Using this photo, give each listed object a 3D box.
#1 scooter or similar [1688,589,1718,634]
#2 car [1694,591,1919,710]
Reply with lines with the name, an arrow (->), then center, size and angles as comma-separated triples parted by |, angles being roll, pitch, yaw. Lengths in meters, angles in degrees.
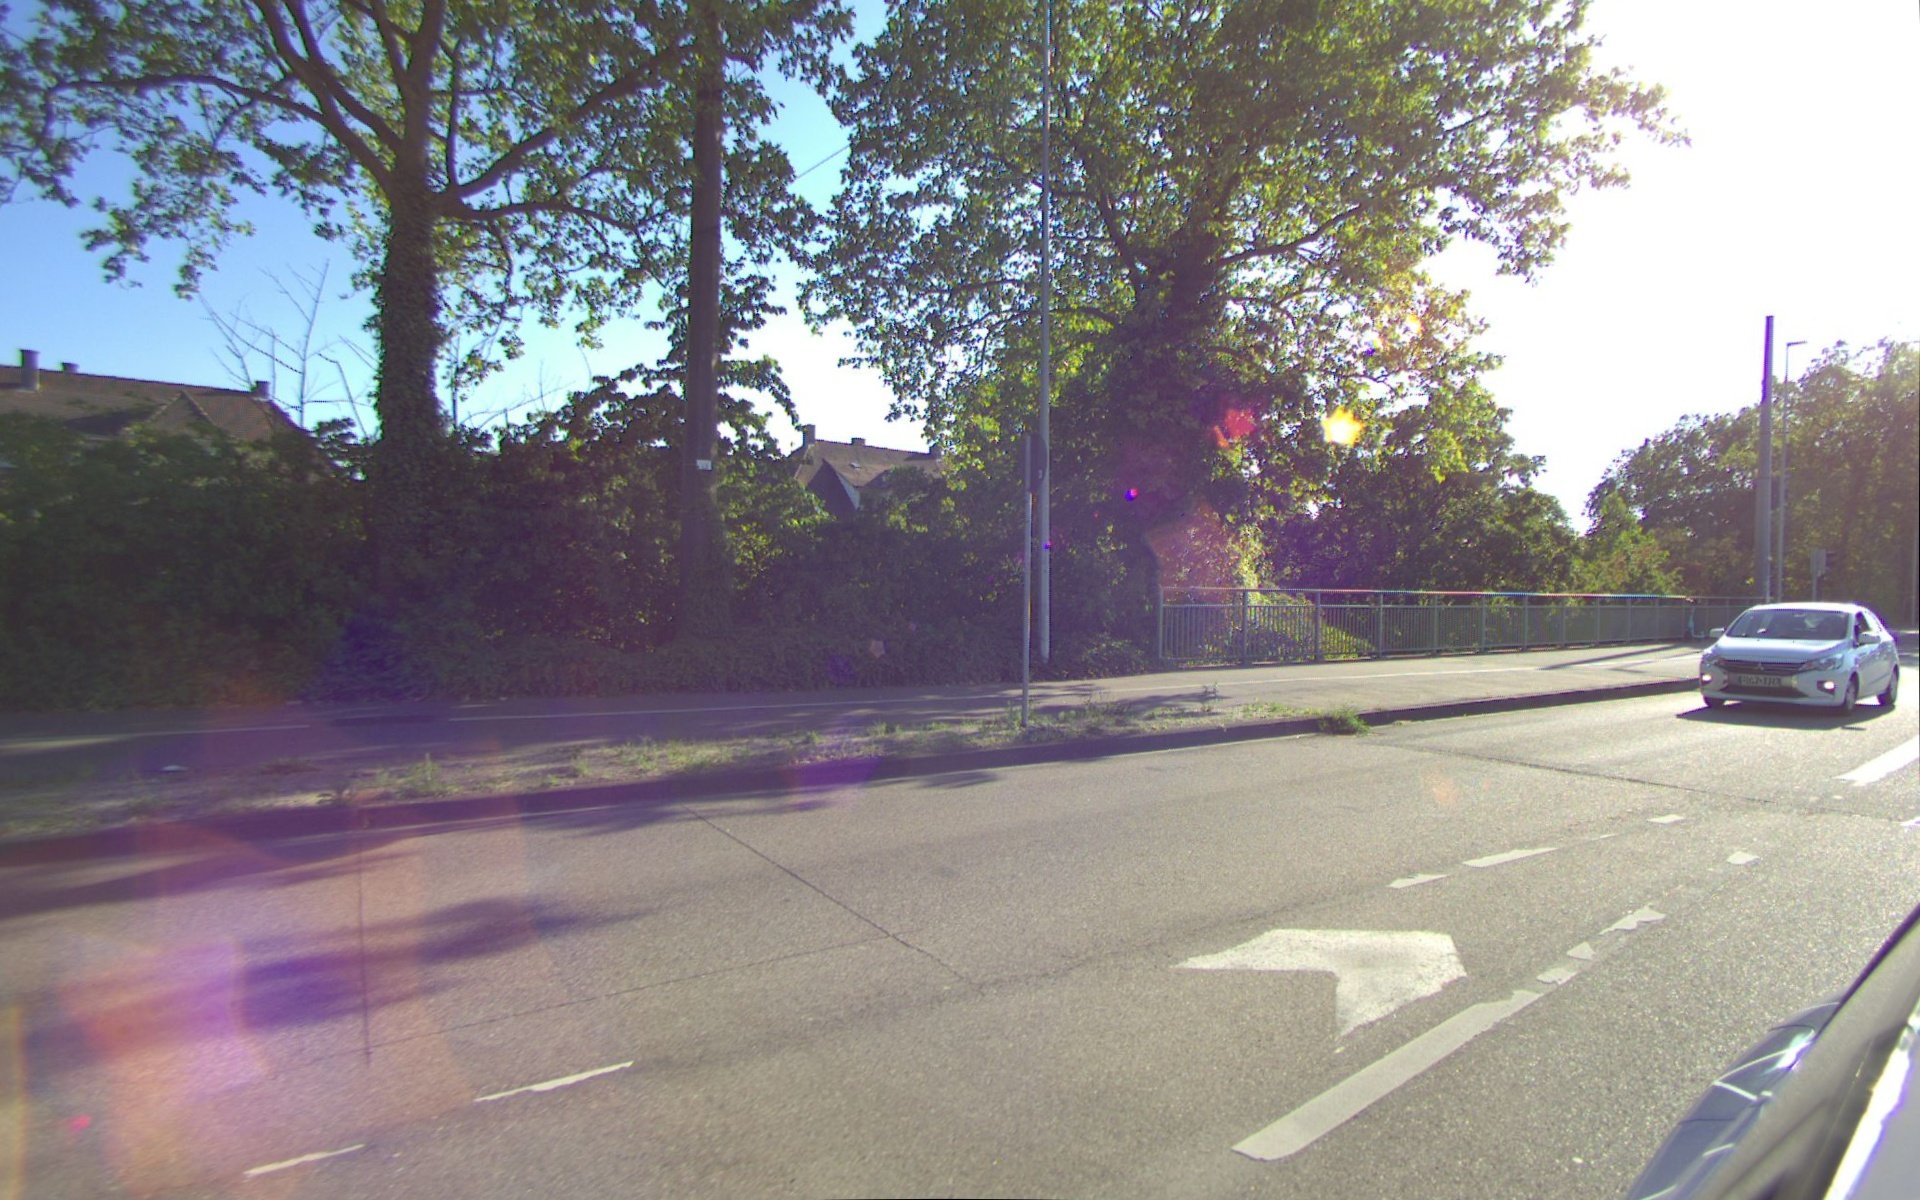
scooter or similar -> 21.549, 0.320, 29.361 | 1.064, 1.291, 0.427 | 0, 1, -40
car -> 12.196, 0.621, 14.503 | 3.674, 1.492, 1.672 | -1, 0, -36
